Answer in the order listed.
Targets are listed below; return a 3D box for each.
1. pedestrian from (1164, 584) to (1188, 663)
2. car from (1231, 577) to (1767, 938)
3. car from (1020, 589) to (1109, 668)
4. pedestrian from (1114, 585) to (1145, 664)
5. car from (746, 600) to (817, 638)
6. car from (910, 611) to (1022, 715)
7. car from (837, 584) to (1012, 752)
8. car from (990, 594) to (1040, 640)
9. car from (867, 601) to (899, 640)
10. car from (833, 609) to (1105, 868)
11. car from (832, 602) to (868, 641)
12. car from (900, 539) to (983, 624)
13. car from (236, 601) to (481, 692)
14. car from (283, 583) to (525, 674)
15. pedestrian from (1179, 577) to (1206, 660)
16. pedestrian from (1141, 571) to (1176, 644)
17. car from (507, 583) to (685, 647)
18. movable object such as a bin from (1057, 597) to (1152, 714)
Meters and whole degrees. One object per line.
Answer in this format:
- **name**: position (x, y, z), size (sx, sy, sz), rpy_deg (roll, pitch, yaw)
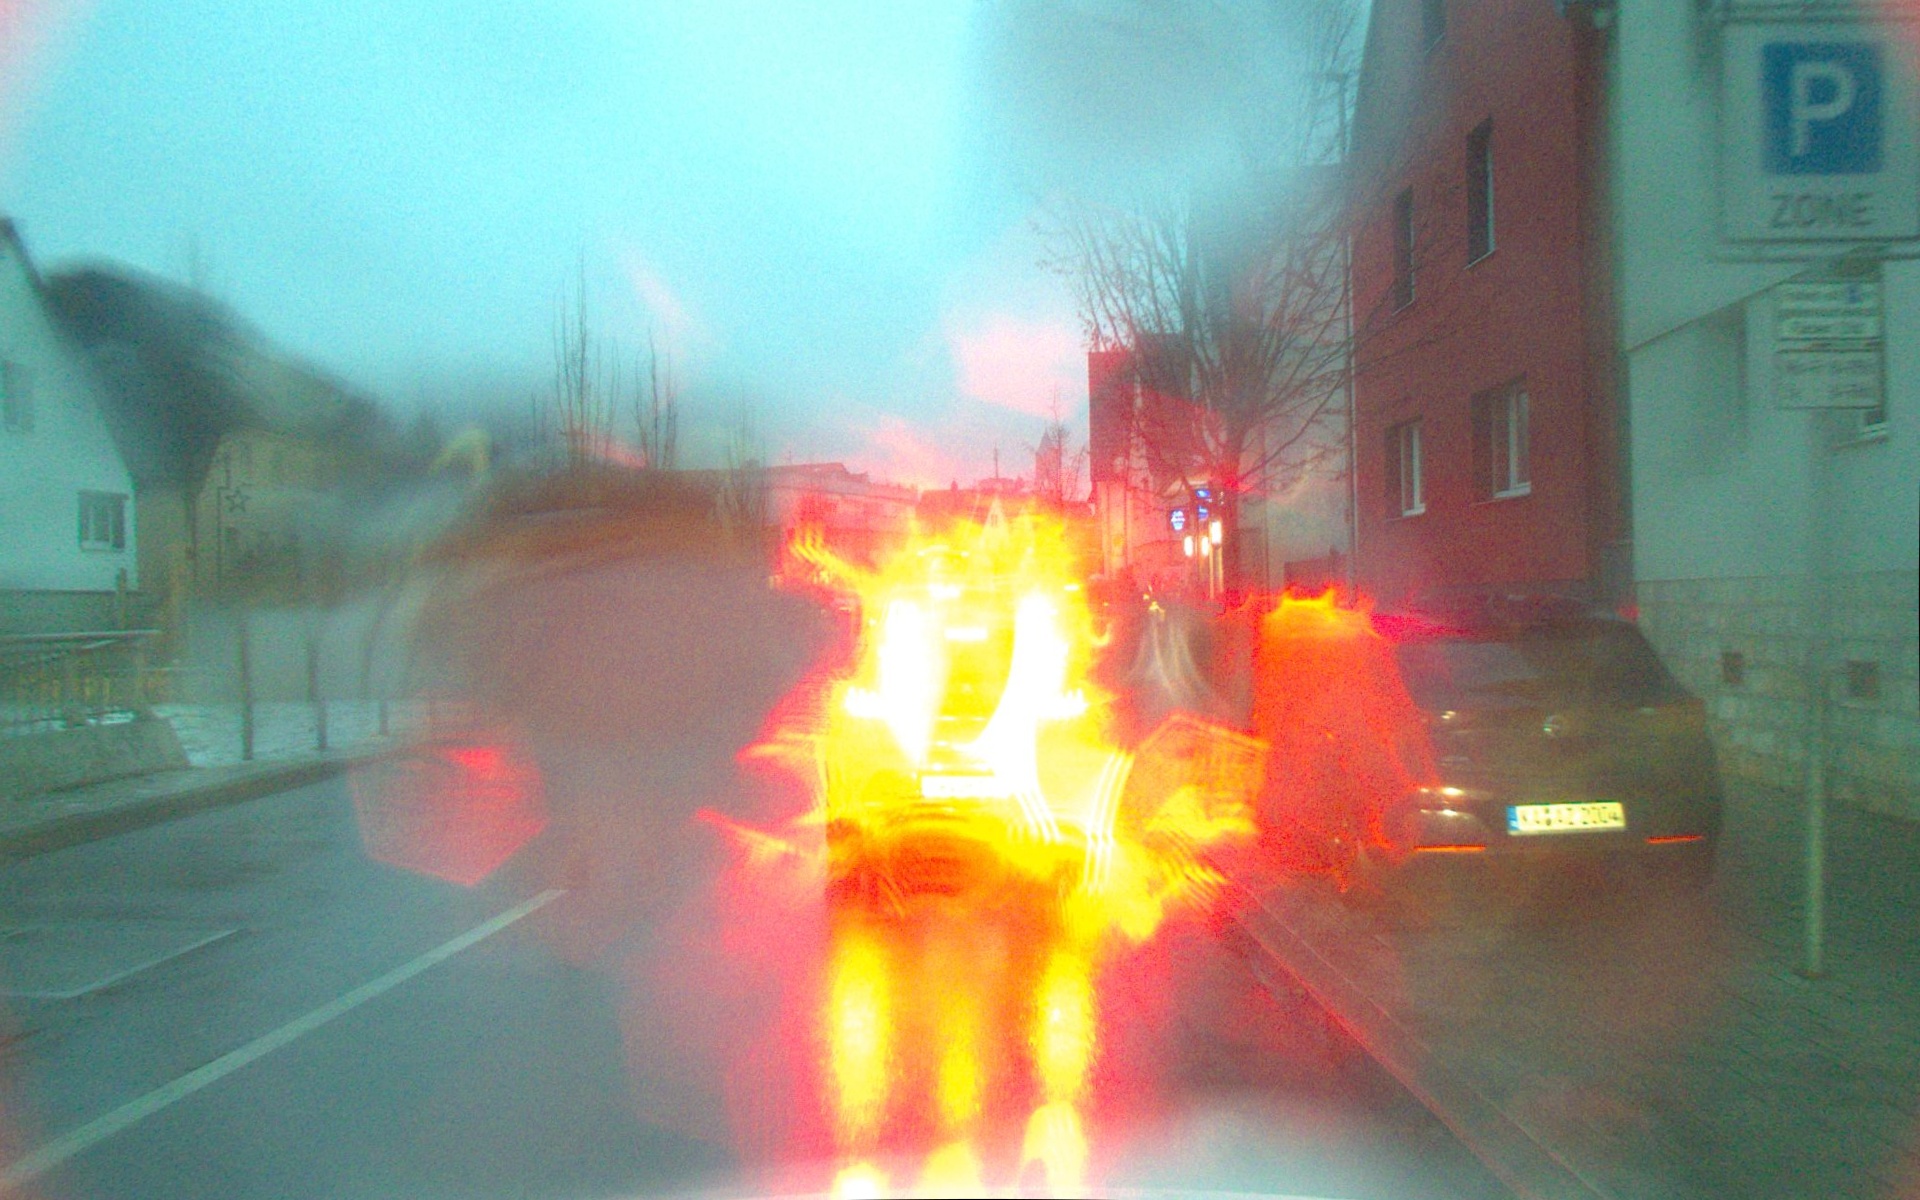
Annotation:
- **pedestrian**: position (5.057, 0.538, 38.640), size (0.517, 1.832, 0.865), rpy_deg (1, 0, 9)
- **car**: position (2.696, 0.674, 9.326), size (1.692, 1.490, 4.199), rpy_deg (-3, 0, 2)
- **car**: position (2.381, 0.632, 38.529), size (1.700, 1.722, 4.385), rpy_deg (-1, 0, -1)
- **pedestrian**: position (3.813, 0.553, 37.219), size (0.561, 1.729, 0.653), rpy_deg (-2, -1, 1)
- **car**: position (-10.804, 1.160, 99.926), size (4.311, 2.204, 1.986), rpy_deg (-1, -3, 44)
- **car**: position (0.066, 0.871, 24.100), size (1.509, 1.355, 3.311), rpy_deg (1, 0, -1)
- **car**: position (-0.375, 0.682, 18.427), size (1.730, 1.657, 3.585), rpy_deg (1, 0, -1)
- **car**: position (2.309, 0.744, 70.502), size (1.957, 1.897, 4.082), rpy_deg (0, -1, 0)
- **car**: position (-4.692, 1.300, 101.198), size (1.881, 2.254, 3.973), rpy_deg (1, -2, -2)
- **car**: position (0.044, 0.799, 10.964), size (1.531, 1.437, 3.017), rpy_deg (1, 0, -1)
- **car**: position (-6.158, 1.215, 93.220), size (1.881, 2.063, 3.973), rpy_deg (1, -2, -2)
- **car**: position (-0.828, -0.671, 67.556), size (3.127, 3.085, 6.301), rpy_deg (1, -2, -3)
- **car**: position (-9.723, 0.735, 26.902), size (3.375, 1.396, 1.600), rpy_deg (-1, 0, -1)
- **car**: position (-9.913, 0.499, 29.625), size (3.713, 1.550, 1.716), rpy_deg (0, -1, 6)
- **pedestrian**: position (4.823, 0.400, 34.238), size (0.517, 1.682, 0.954), rpy_deg (1, -3, 9)
- **pedestrian**: position (4.840, 0.177, 40.343), size (0.697, 1.745, 1.035), rpy_deg (-1, 0, 13)
- **car**: position (-10.061, 0.416, 45.961), size (4.533, 1.697, 1.999), rpy_deg (0, -1, -3)
- **movable object such as a bin**: position (1.920, 0.723, 22.220), size (1.105, 1.445, 1.418), rpy_deg (-3, 1, 2)
